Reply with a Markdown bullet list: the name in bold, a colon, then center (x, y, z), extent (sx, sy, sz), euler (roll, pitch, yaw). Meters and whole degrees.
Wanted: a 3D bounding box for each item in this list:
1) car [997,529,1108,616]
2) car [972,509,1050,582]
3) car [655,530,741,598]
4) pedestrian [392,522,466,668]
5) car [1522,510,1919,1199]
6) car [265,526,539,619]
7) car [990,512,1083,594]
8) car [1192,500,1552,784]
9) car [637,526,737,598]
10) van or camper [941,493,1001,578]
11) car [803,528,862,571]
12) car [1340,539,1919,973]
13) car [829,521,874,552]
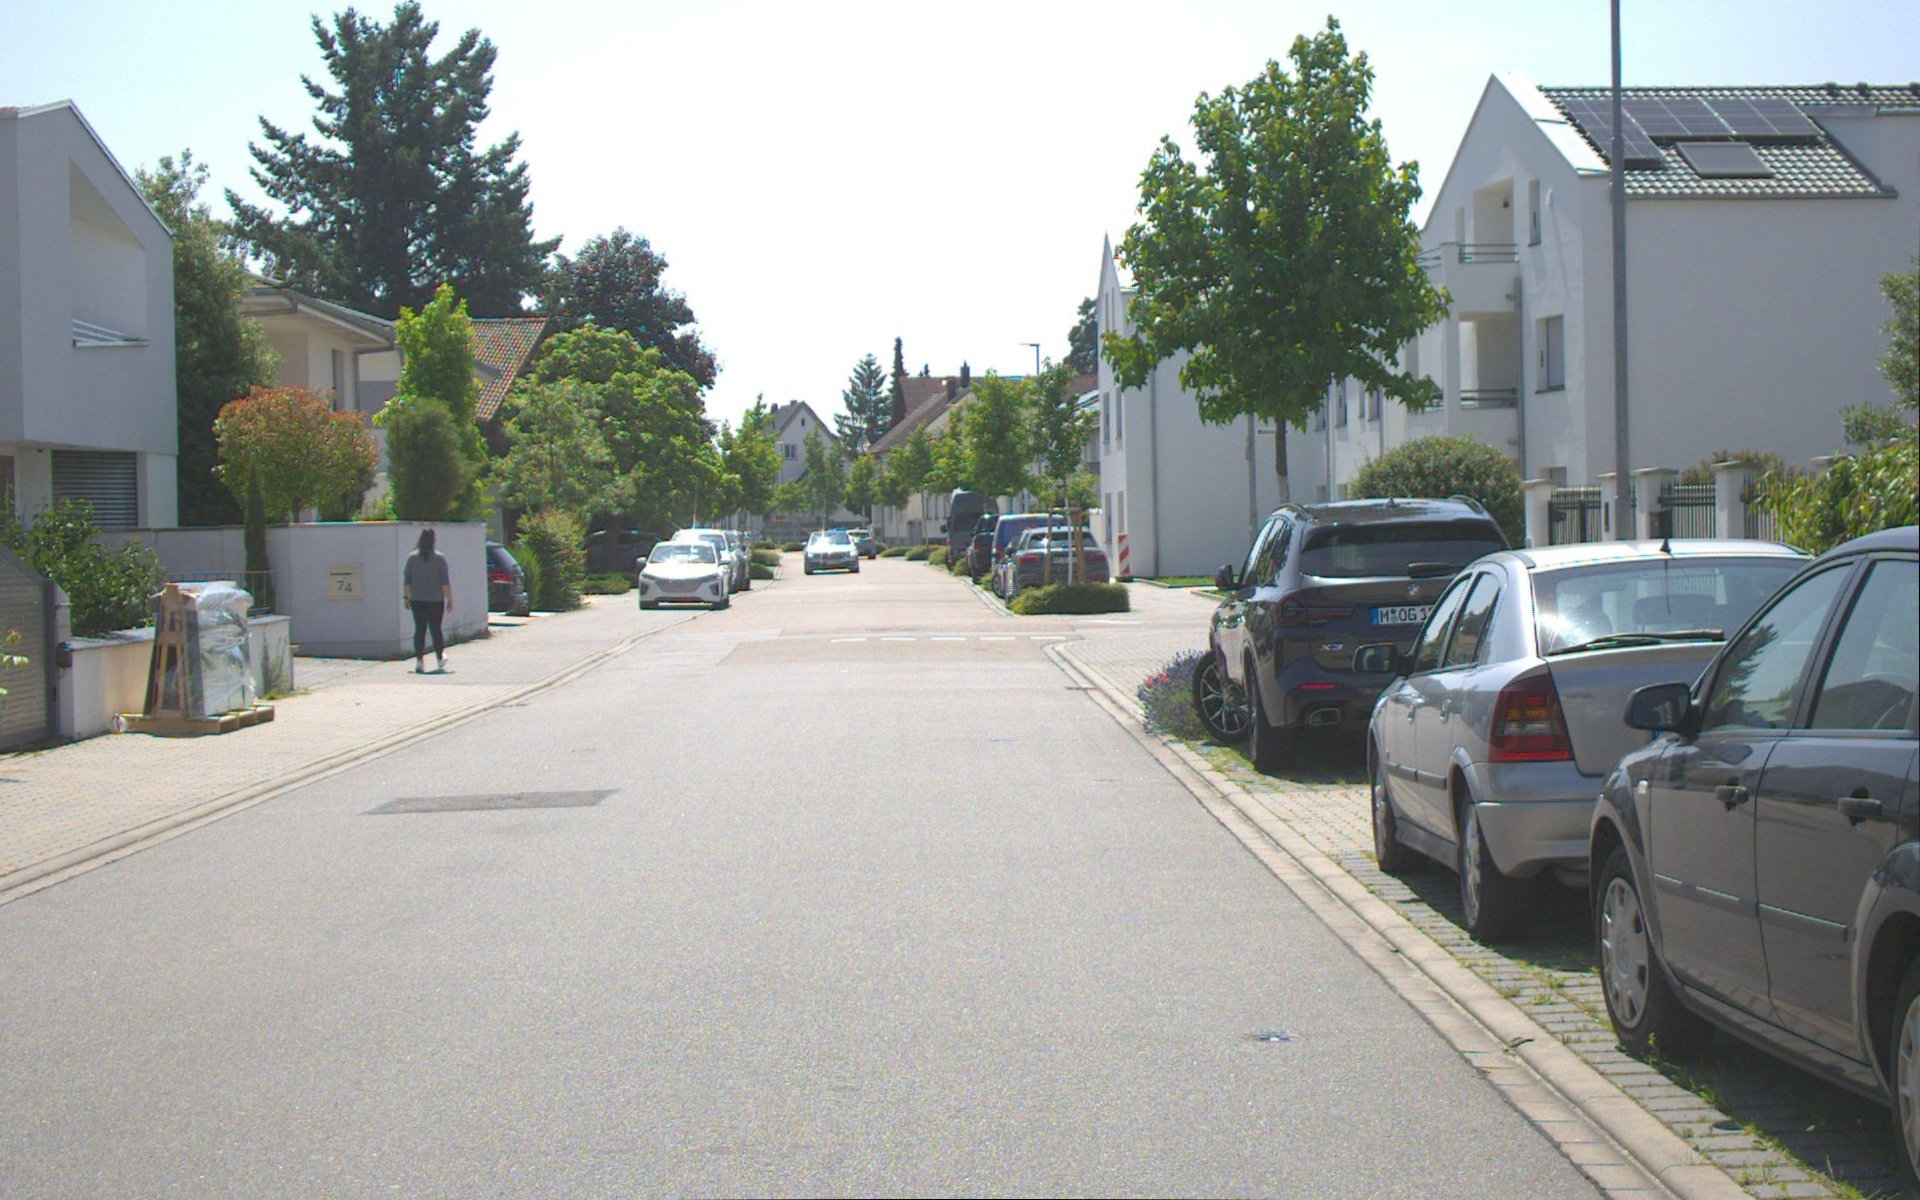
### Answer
- **car**: center (1.754, -0.564, 66.566), extent (1.773, 1.590, 4.280), euler (-1, 1, -3)
- **car**: center (1.414, -1.575, 97.918), extent (1.993, 1.940, 5.215), euler (-2, 1, -1)
- **car**: center (-6.831, -0.971, 89.896), extent (1.927, 1.681, 4.498), euler (-1, 1, -1)
- **pedestrian**: center (-6.434, -0.067, 41.696), extent (0.714, 1.741, 0.961), euler (-1, 1, -1)
- **car**: center (2.708, 0.543, 8.321), extent (1.741, 1.528, 4.449), euler (-1, 1, -3)
- **car**: center (-9.809, -0.498, 60.654), extent (4.429, 1.468, 1.850), euler (2, 1, 3)
- **car**: center (1.822, -1.167, 83.313), extent (2.099, 1.875, 4.843), euler (-1, 1, 0)
- **car**: center (2.636, 0.188, 22.989), extent (1.814, 1.650, 4.565), euler (-1, 2, 0)
- **car**: center (-5.929, -0.853, 74.958), extent (1.852, 1.483, 4.385), euler (-1, 1, -1)
- **van or camper**: center (0.370, -2.294, 122.476), extent (1.993, 2.931, 4.000), euler (-1, 1, -1)
- **car**: center (-4.517, -1.817, 122.623), extent (1.853, 1.473, 4.700), euler (-1, 1, 1)
- **car**: center (2.684, 0.500, 13.852), extent (1.814, 1.415, 4.093), euler (-1, 1, 0)
- **car**: center (-5.312, -3.122, 168.962), extent (1.993, 1.425, 4.000), euler (-1, 1, 1)
